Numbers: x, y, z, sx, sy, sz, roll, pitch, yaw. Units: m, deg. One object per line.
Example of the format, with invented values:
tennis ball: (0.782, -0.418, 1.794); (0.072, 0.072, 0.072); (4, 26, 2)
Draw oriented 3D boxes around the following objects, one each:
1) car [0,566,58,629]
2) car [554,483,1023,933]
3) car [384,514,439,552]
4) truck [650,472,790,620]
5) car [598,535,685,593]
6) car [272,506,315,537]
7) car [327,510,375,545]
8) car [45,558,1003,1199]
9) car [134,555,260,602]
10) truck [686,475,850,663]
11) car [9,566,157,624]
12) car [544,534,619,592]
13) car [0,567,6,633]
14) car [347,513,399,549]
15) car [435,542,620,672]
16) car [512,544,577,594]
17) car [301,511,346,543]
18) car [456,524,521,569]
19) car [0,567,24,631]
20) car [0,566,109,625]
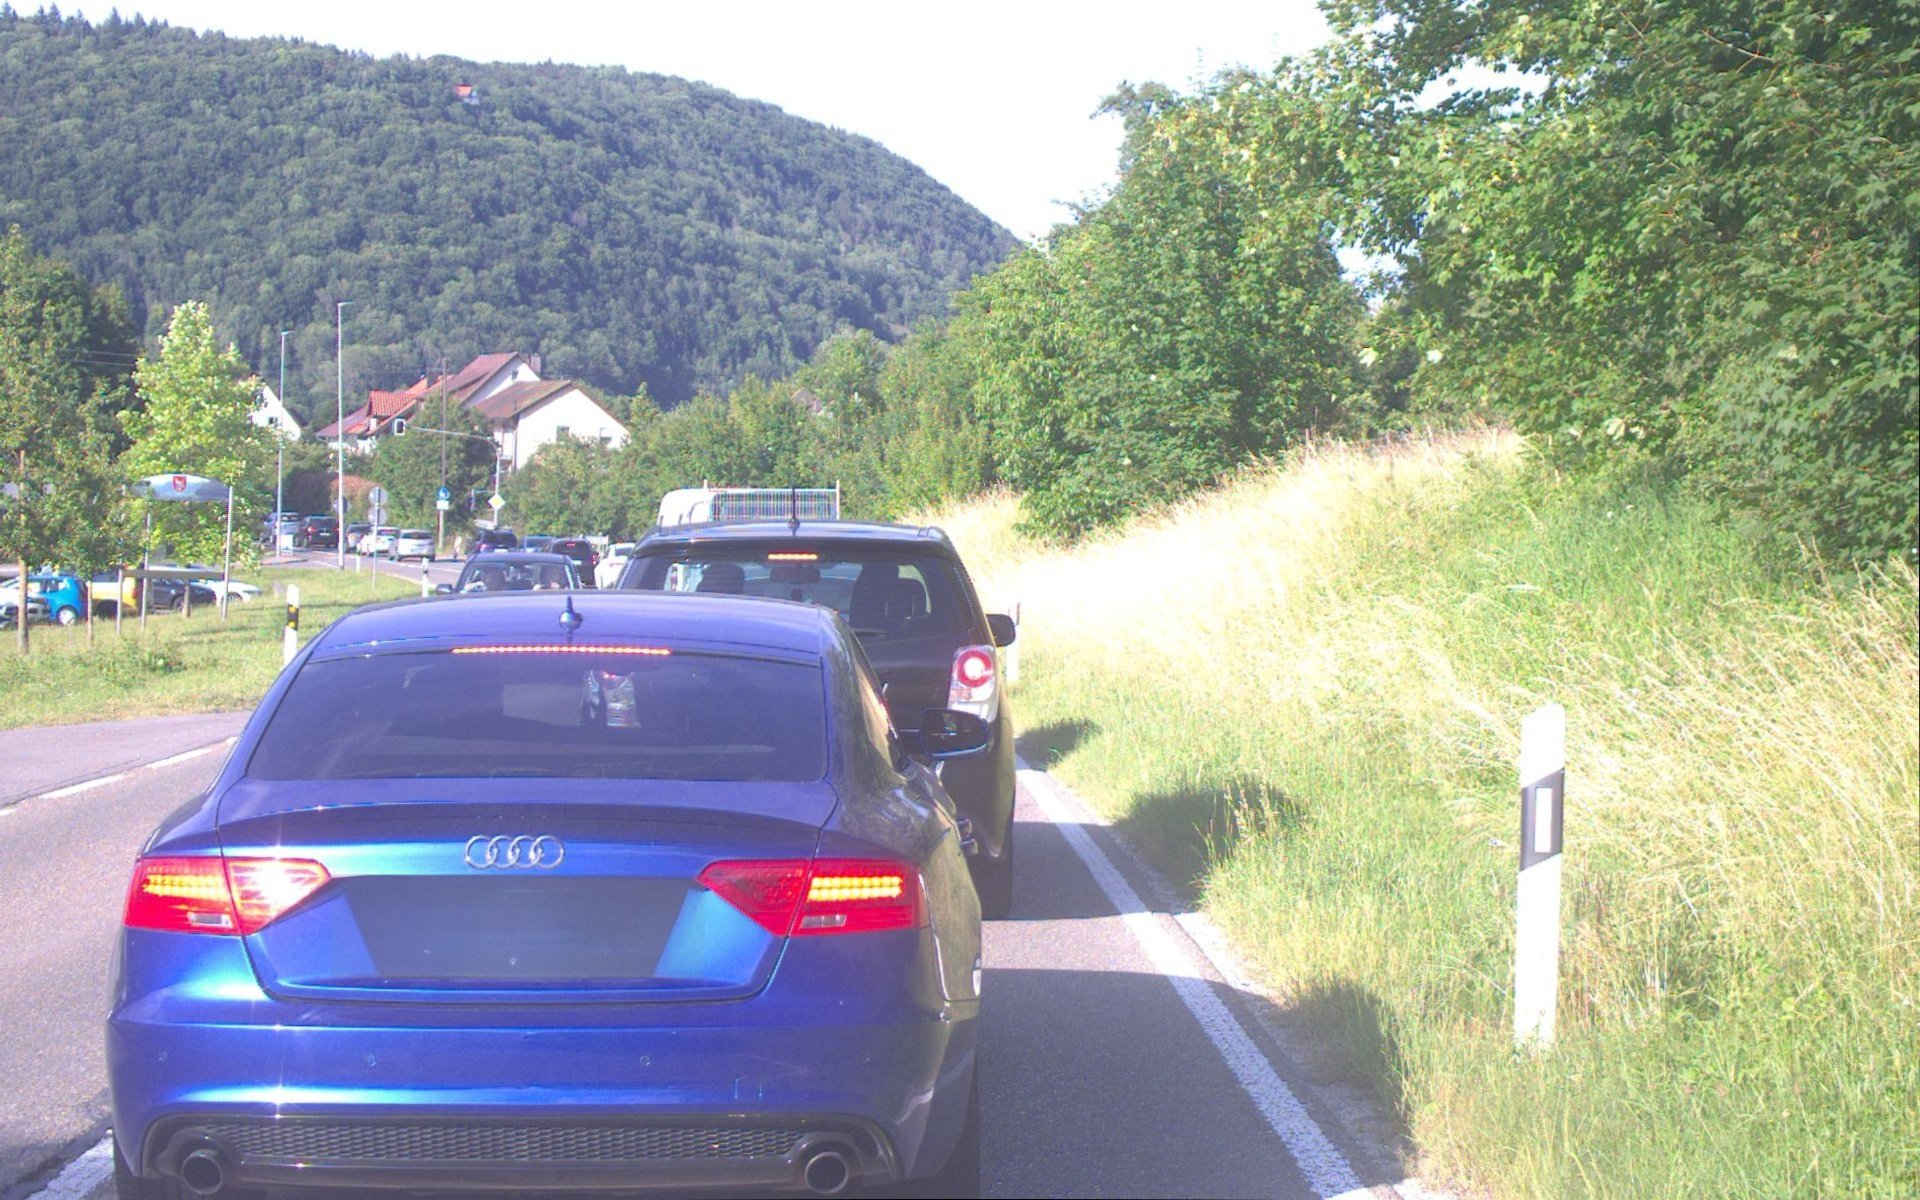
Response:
car: (-27.299, -0.092, 95.542); (3.986, 1.705, 2.000); (1, 0, -3)
car: (-0.638, 0.389, 14.909); (1.754, 1.675, 3.846); (1, 1, 0)
car: (-24.821, -3.018, 155.537); (1.845, 1.706, 4.001); (1, 1, -17)
truck: (-4.517, -0.979, 63.697); (2.229, 2.561, 6.709); (1, 1, -7)
car: (-8.510, -0.965, 91.612); (1.845, 1.477, 4.001); (1, 1, -12)
car: (-37.890, -4.437, 195.310); (1.845, 1.706, 4.001); (1, 1, -19)
car: (-30.943, -3.674, 174.585); (1.845, 1.706, 4.001); (1, 1, -18)
car: (-0.797, 0.629, 8.262); (1.754, 1.425, 3.846); (1, 1, 0)
car: (-26.306, -0.736, 118.564); (3.986, 1.573, 1.753); (1, 0, -3)
truck: (-2.810, -0.460, 50.376); (2.229, 2.561, 6.104); (1, 1, -3)
car: (-26.507, -0.160, 104.004); (3.986, 1.705, 2.000); (1, 0, -3)
car: (-11.506, -1.124, 104.342); (1.845, 1.706, 4.001); (1, 1, -12)
car: (-26.840, -0.021, 88.601); (3.986, 1.705, 2.000); (1, 0, -3)
car: (-28.183, -3.304, 164.949); (1.845, 1.706, 4.001); (1, 1, -18)
car: (-5.017, 0.057, 40.303); (1.704, 1.425, 4.051); (1, 1, -1)
car: (-14.742, -1.094, 121.863); (1.845, 1.706, 4.001); (1, 1, -13)
car: (-34.463, -3.946, 186.086); (1.845, 1.706, 4.001); (1, 1, -18)
car: (-18.364, -2.088, 133.829); (1.845, 1.706, 4.001); (1, 1, -18)
car: (-27.361, -0.062, 92.257); (3.986, 1.705, 2.000); (1, 0, -3)
car: (-27.308, -0.146, 101.329); (3.986, 1.705, 2.000); (1, 0, -3)
